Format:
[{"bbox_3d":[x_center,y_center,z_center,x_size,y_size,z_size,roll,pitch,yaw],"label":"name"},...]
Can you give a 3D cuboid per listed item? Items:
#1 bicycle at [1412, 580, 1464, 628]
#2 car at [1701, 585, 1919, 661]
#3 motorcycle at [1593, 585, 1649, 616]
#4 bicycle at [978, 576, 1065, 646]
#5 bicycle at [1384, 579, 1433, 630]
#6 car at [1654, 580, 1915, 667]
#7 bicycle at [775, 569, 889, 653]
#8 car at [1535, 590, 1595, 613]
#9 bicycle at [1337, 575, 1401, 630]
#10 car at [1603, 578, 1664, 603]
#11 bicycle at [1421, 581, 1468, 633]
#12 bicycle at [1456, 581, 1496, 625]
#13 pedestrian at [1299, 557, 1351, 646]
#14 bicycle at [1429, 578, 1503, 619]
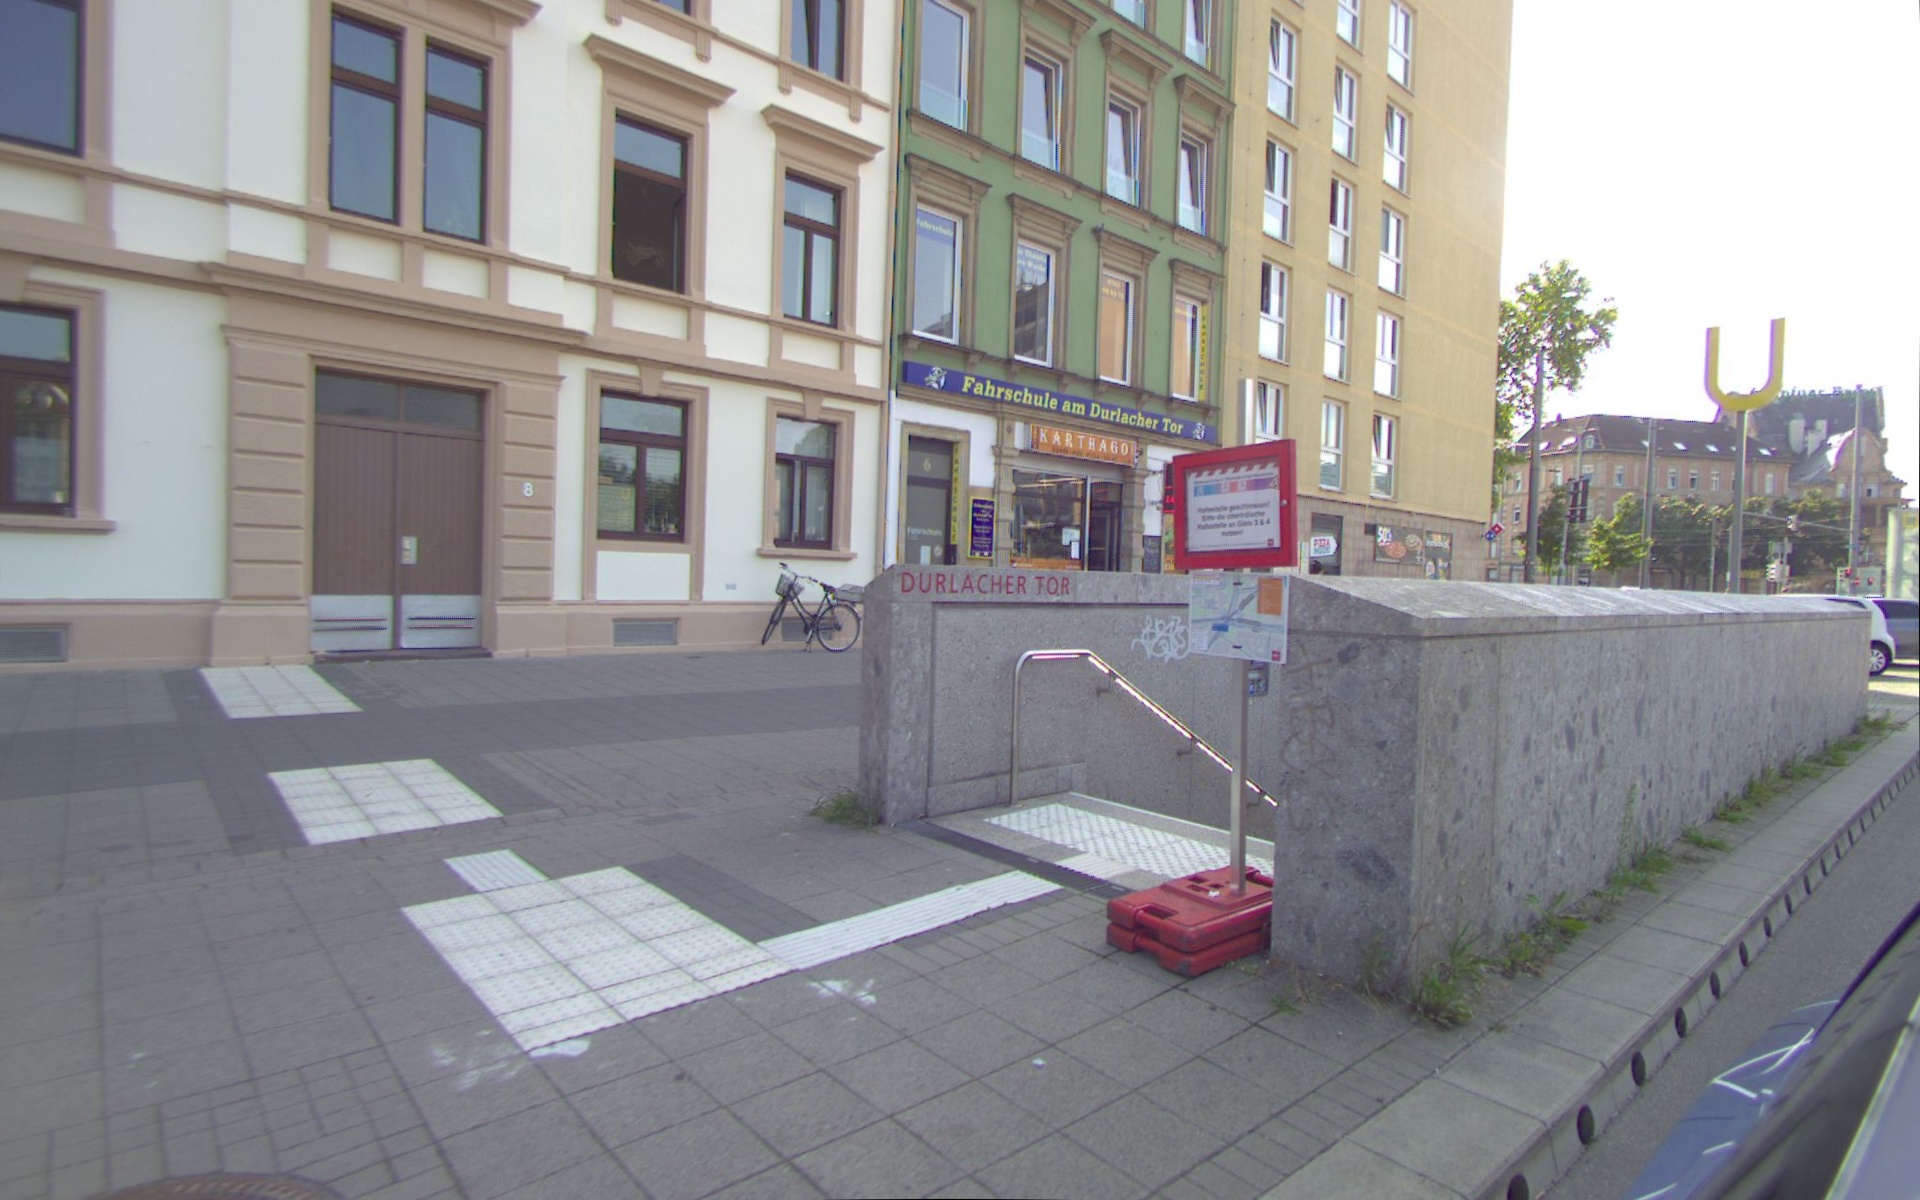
[{"bbox_3d":[13.222,0.097,27.985,1.817,1.276,0.603,0,2,-42],"label":"bicycle"},{"bbox_3d":[18.813,0.472,21.682,4.334,1.441,1.845,1,2,8],"label":"car"},{"bbox_3d":[25.632,0.022,39.225,2.253,1.161,0.707,1,2,-26],"label":"motorcycle"},{"bbox_3d":[1.083,0.172,17.435,1.689,1.148,0.384,0,2,-41],"label":"bicycle"},{"bbox_3d":[11.750,0.101,26.478,0.602,1.276,1.968,3,2,40],"label":"bicycle"},{"bbox_3d":[15.630,0.407,19.349,3.468,1.482,1.620,1,2,8],"label":"car"},{"bbox_3d":[-1.837,0.149,14.649,1.689,1.148,0.384,0,2,-41],"label":"bicycle"},{"bbox_3d":[44.590,0.082,74.696,1.766,1.459,3.639,2,2,-10],"label":"car"},{"bbox_3d":[9.985,0.054,24.698,1.963,1.276,0.603,0,2,-42],"label":"bicycle"},{"bbox_3d":[58.671,-0.838,88.242,1.757,1.909,4.299,3,1,-13],"label":"car"},{"bbox_3d":[12.592,0.167,26.281,0.602,1.276,1.968,3,2,40],"label":"bicycle"},{"bbox_3d":[15.412,0.084,30.209,1.609,1.276,0.469,0,2,-42],"label":"bicycle"},{"bbox_3d":[6.941,0.021,19.256,0.724,1.649,0.610,0,2,-41],"label":"pedestrian"},{"bbox_3d":[16.469,-0.057,32.991,0.659,1.221,2.021,1,2,-41],"label":"bicycle"}]
